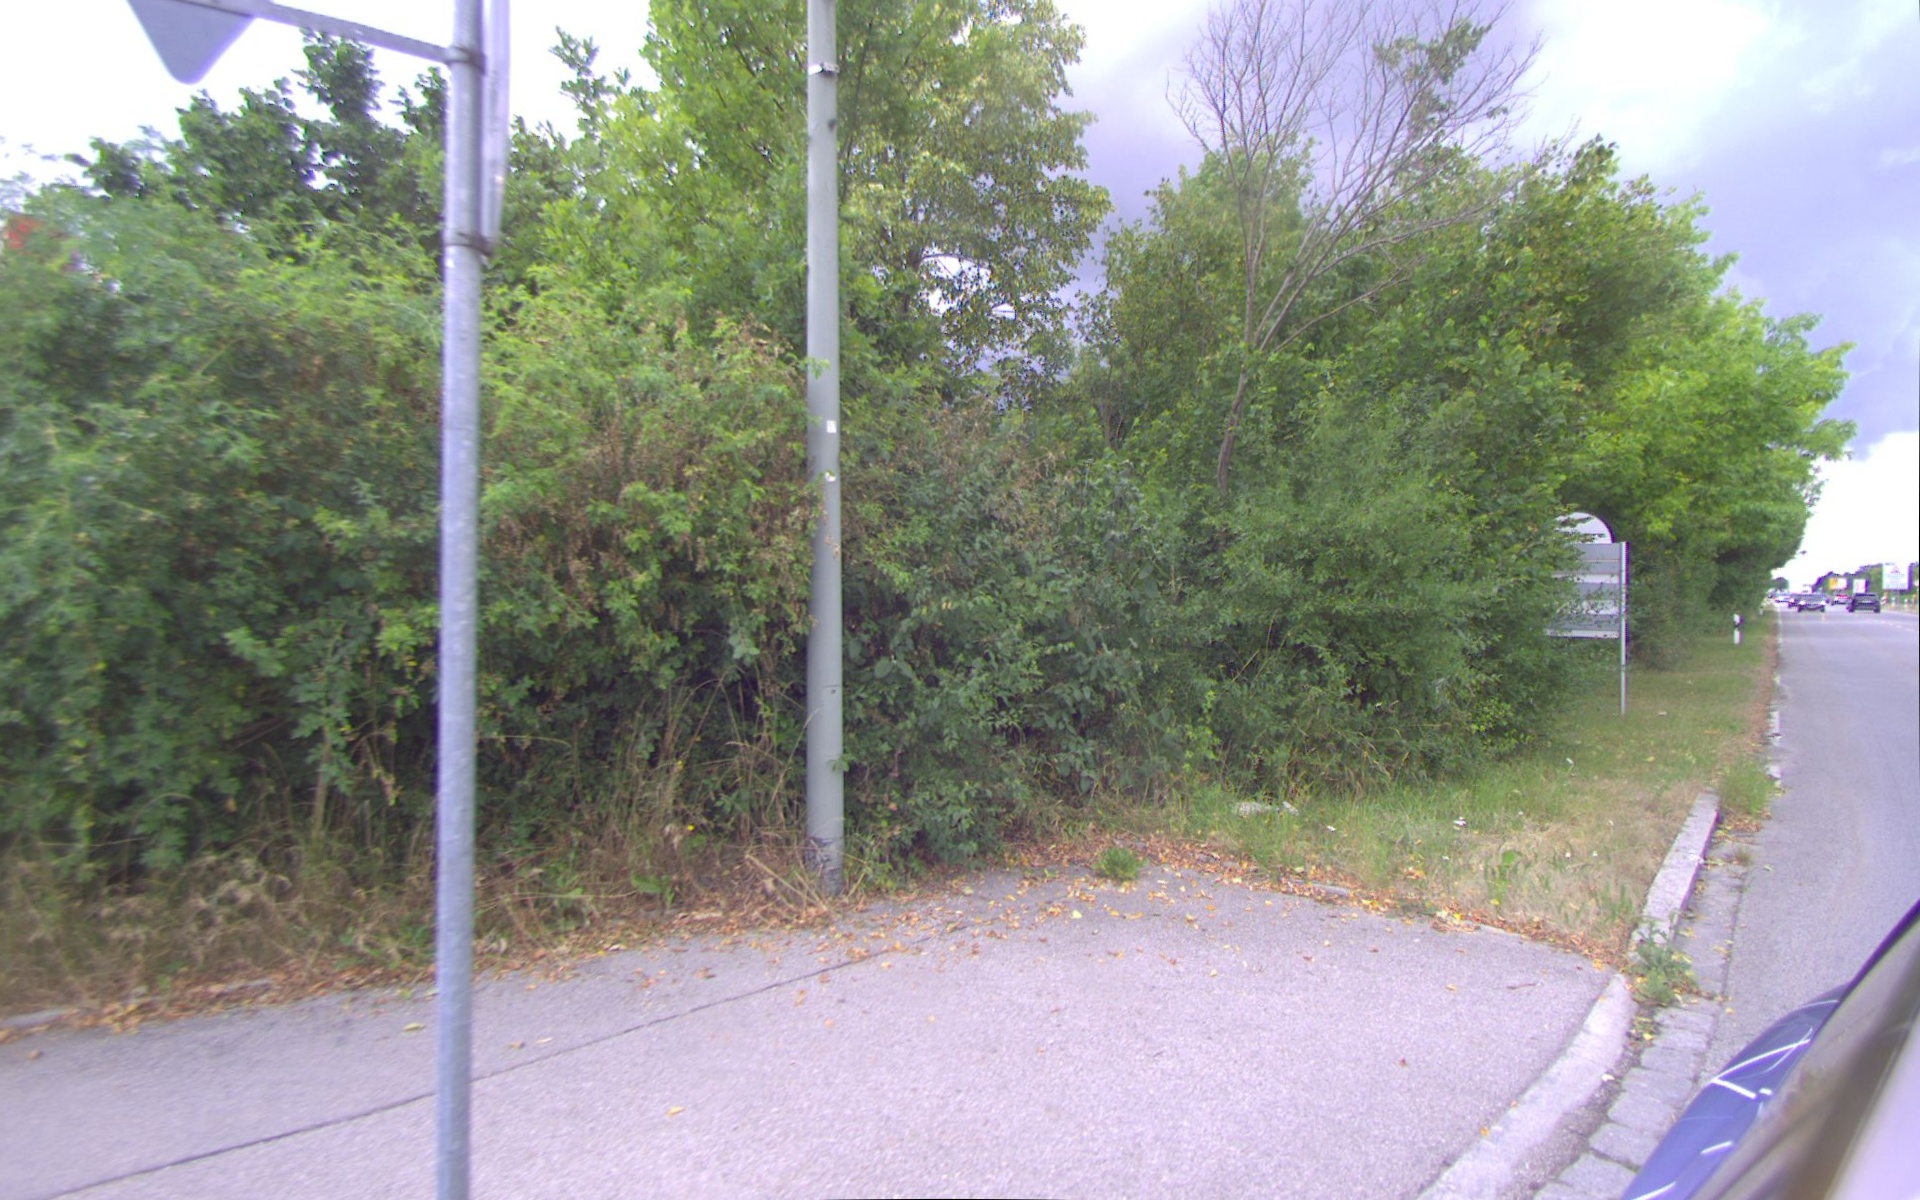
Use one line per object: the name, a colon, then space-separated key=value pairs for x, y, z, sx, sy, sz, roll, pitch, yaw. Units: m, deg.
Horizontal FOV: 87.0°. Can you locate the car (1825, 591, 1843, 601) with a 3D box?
car: x=133.524 y=-0.680 z=154.619 sx=1.849 sy=1.482 sz=4.309 roll=1 pitch=1 yaw=39

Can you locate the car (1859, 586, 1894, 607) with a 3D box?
car: x=70.704 y=-0.284 z=78.104 sx=1.731 sy=1.553 sz=4.037 roll=2 pitch=2 yaw=39

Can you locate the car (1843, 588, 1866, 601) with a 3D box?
car: x=108.932 y=-0.653 z=123.275 sx=1.813 sy=1.512 sz=4.145 roll=2 pitch=2 yaw=39

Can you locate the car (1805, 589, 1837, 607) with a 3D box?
car: x=69.691 y=-0.195 z=81.940 sx=1.862 sy=1.377 sz=3.772 roll=1 pitch=1 yaw=39
